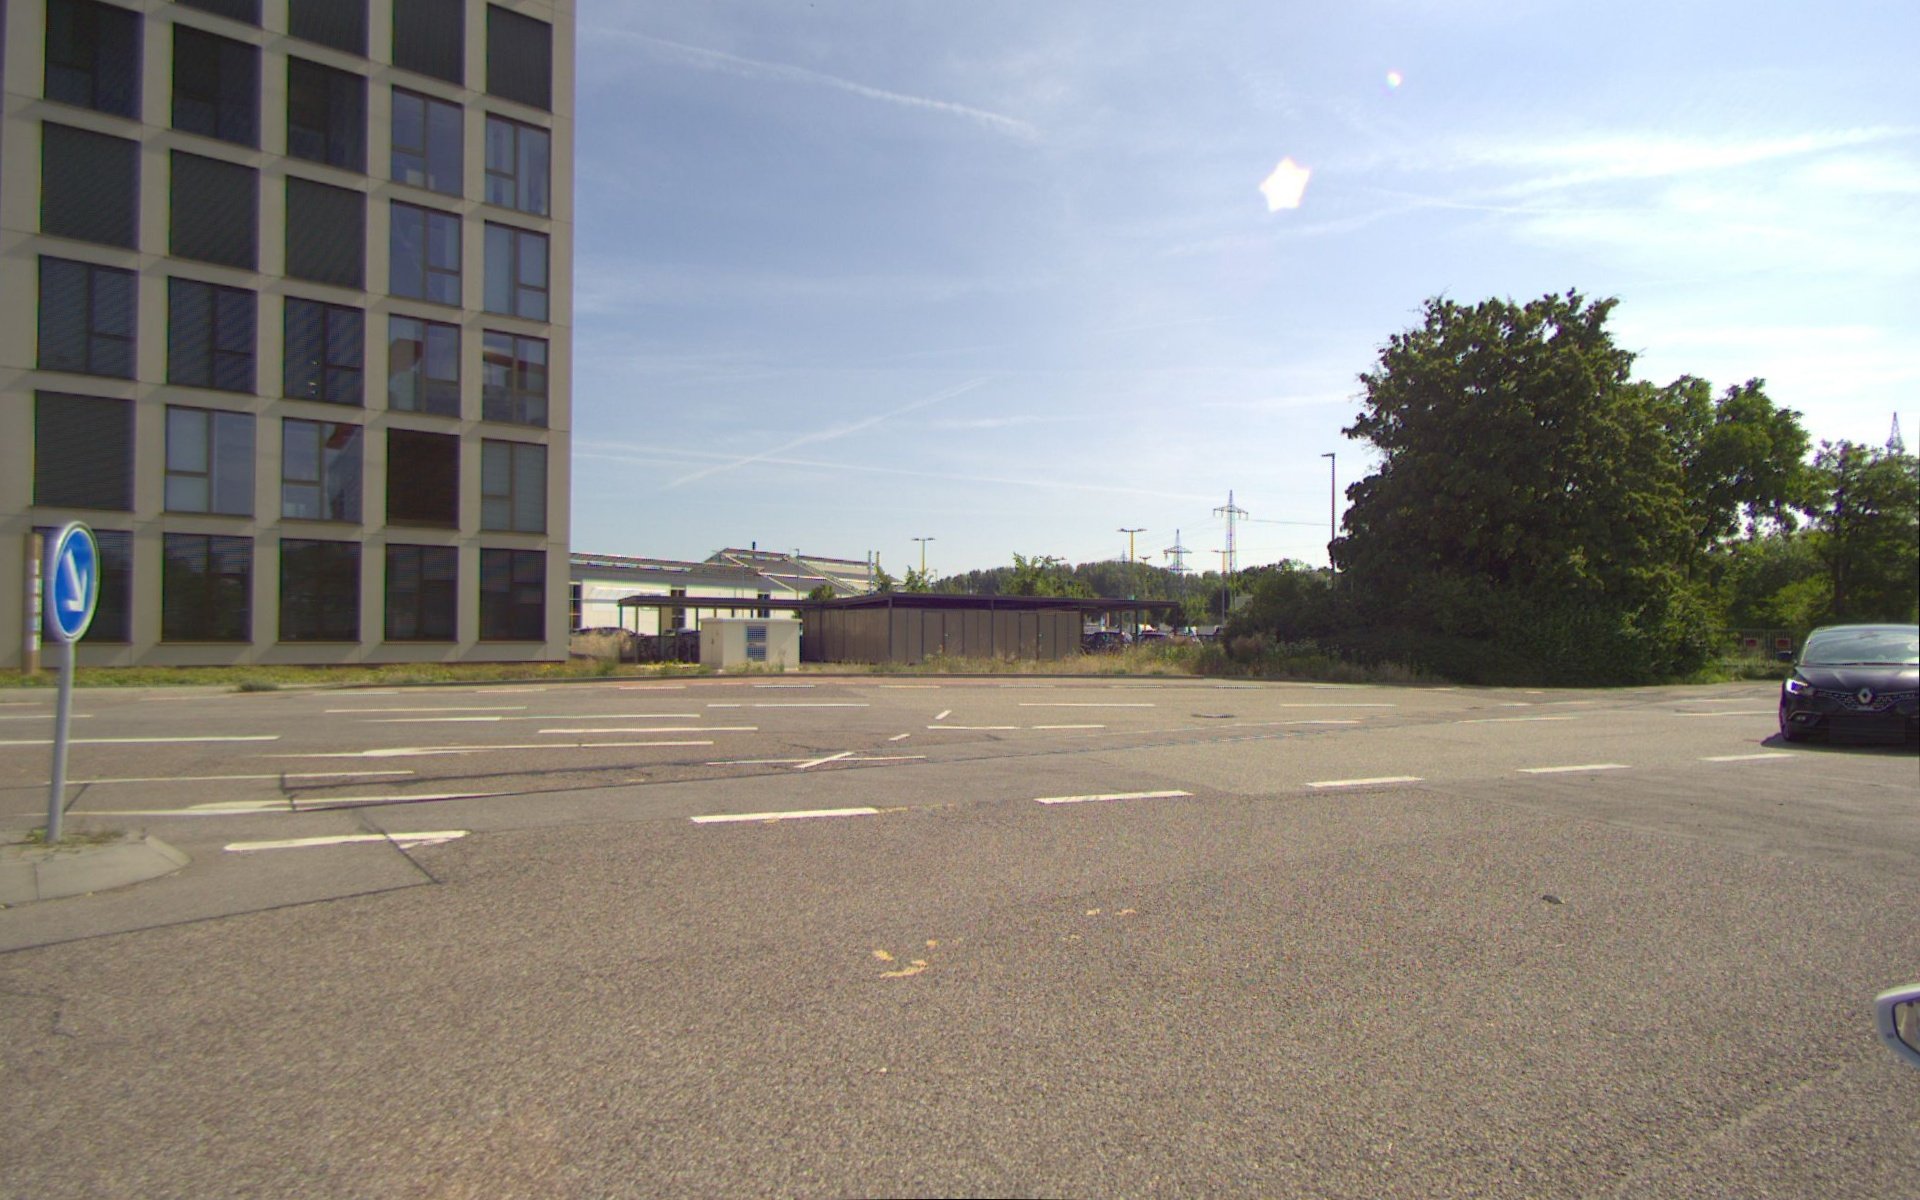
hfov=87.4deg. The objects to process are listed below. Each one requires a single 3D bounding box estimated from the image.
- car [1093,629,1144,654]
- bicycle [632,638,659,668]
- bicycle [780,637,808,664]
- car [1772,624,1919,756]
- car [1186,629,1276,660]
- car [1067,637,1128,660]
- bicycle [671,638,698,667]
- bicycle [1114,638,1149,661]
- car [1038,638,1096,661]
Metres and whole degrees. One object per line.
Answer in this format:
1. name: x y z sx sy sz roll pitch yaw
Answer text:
1. car: 9.594 2.466 60.576 1.698 1.439 3.914 0 -2 30
2. bicycle: -12.302 2.051 39.291 0.582 1.106 1.693 1 -2 -33
3. bicycle: -7.095 2.142 42.890 0.582 1.106 1.693 1 -2 -33
4. car: 13.037 1.184 14.387 1.895 1.627 4.247 -1 -2 43
5. car: 13.726 2.246 50.909 4.047 1.438 1.722 0 -3 37
6. car: 6.826 2.405 49.879 2.796 1.128 1.251 1 -2 -29
7. bicycle: -11.080 2.088 40.355 0.582 1.106 1.693 1 -2 -33
8. bicycle: 8.305 2.380 48.612 1.689 1.105 0.583 2 -2 -31
9. car: 5.549 2.537 51.889 2.780 1.117 1.311 2 -2 -32
